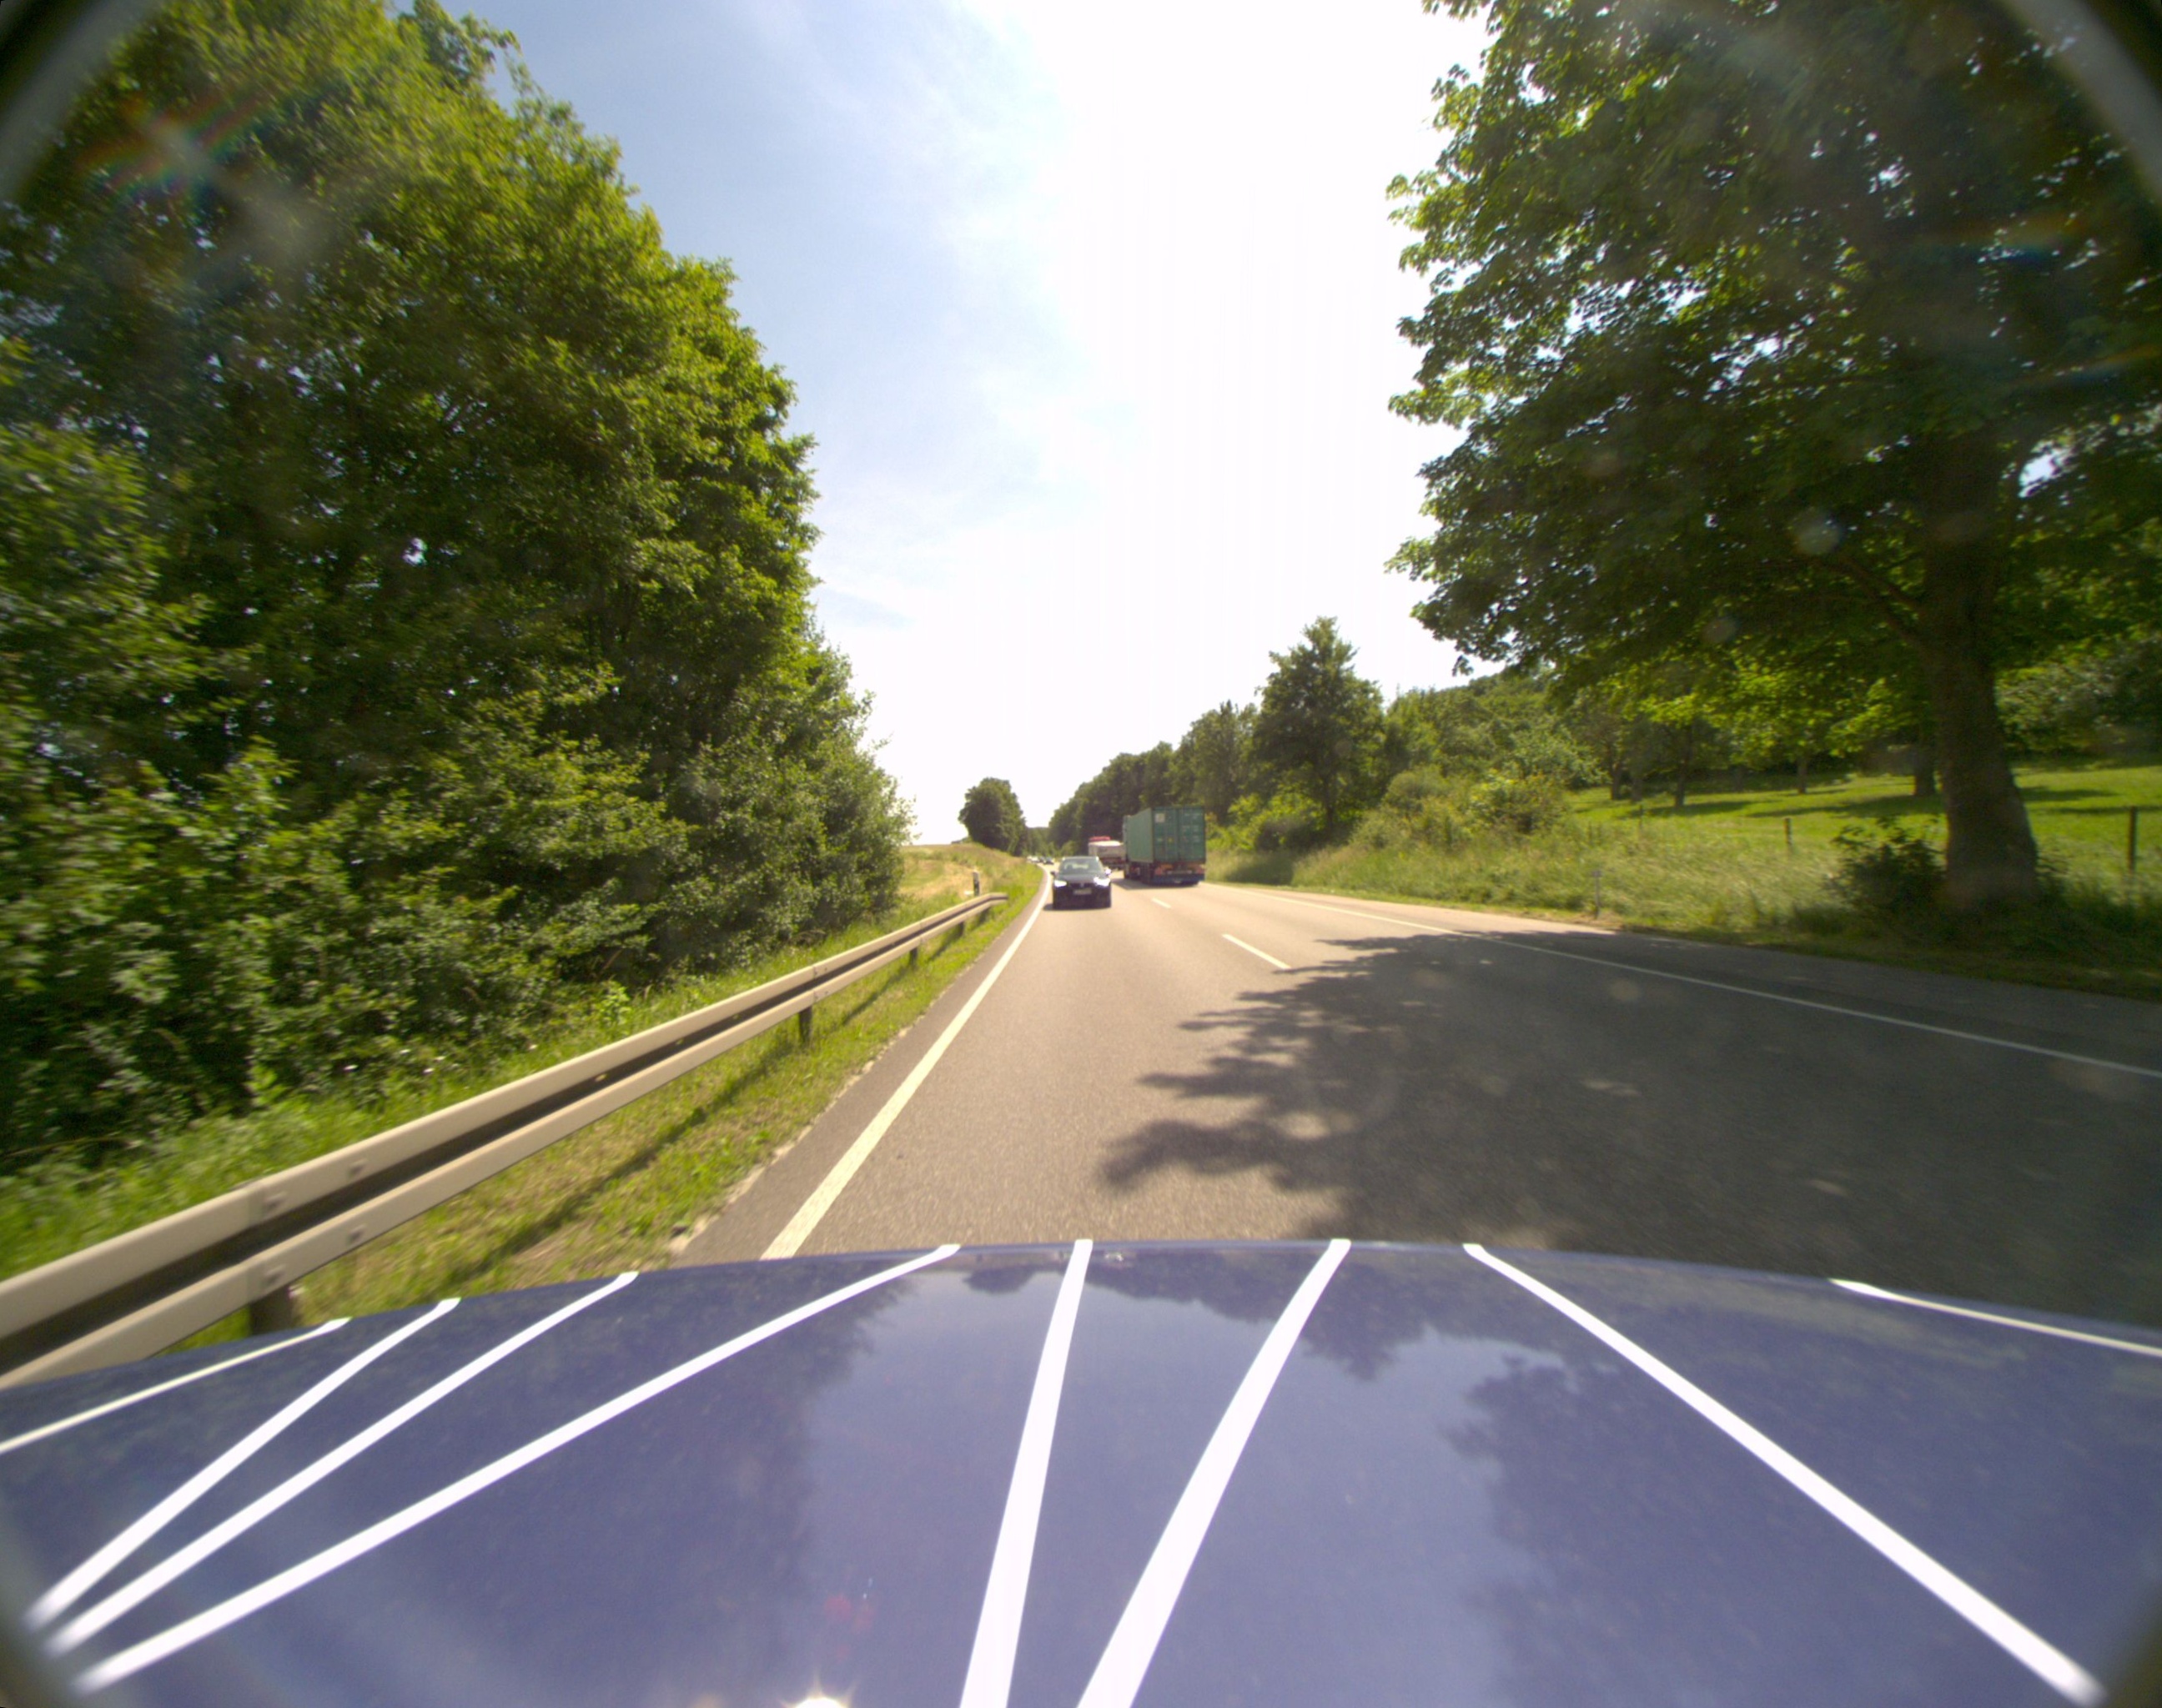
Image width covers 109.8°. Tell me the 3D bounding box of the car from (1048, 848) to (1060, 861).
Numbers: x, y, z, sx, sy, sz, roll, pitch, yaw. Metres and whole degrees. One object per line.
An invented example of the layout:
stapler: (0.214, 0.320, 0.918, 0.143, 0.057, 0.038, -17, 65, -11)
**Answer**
car: (-4.731, 0.085, 133.184, 1.999, 2.002, 3.998, -3, 0, -4)

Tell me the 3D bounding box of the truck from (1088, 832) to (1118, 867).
truck: (2.286, -0.477, 80.574, 2.537, 3.539, 7.759, -1, 1, -2)

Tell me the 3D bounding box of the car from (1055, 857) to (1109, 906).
car: (-0.023, 0.864, 25.530, 1.662, 1.531, 3.486, -1, 0, -2)

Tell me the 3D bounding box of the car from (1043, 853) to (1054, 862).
car: (-7.163, 0.785, 168.092, 1.999, 2.002, 3.998, -3, 0, -6)

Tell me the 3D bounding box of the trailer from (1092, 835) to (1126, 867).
trailer: (2.654, -0.269, 73.222, 2.651, 2.856, 7.074, -1, 1, -3)

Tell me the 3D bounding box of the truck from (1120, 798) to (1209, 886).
truck: (4.237, -0.499, 42.689, 2.567, 3.916, 16.157, -2, 0, -2)
